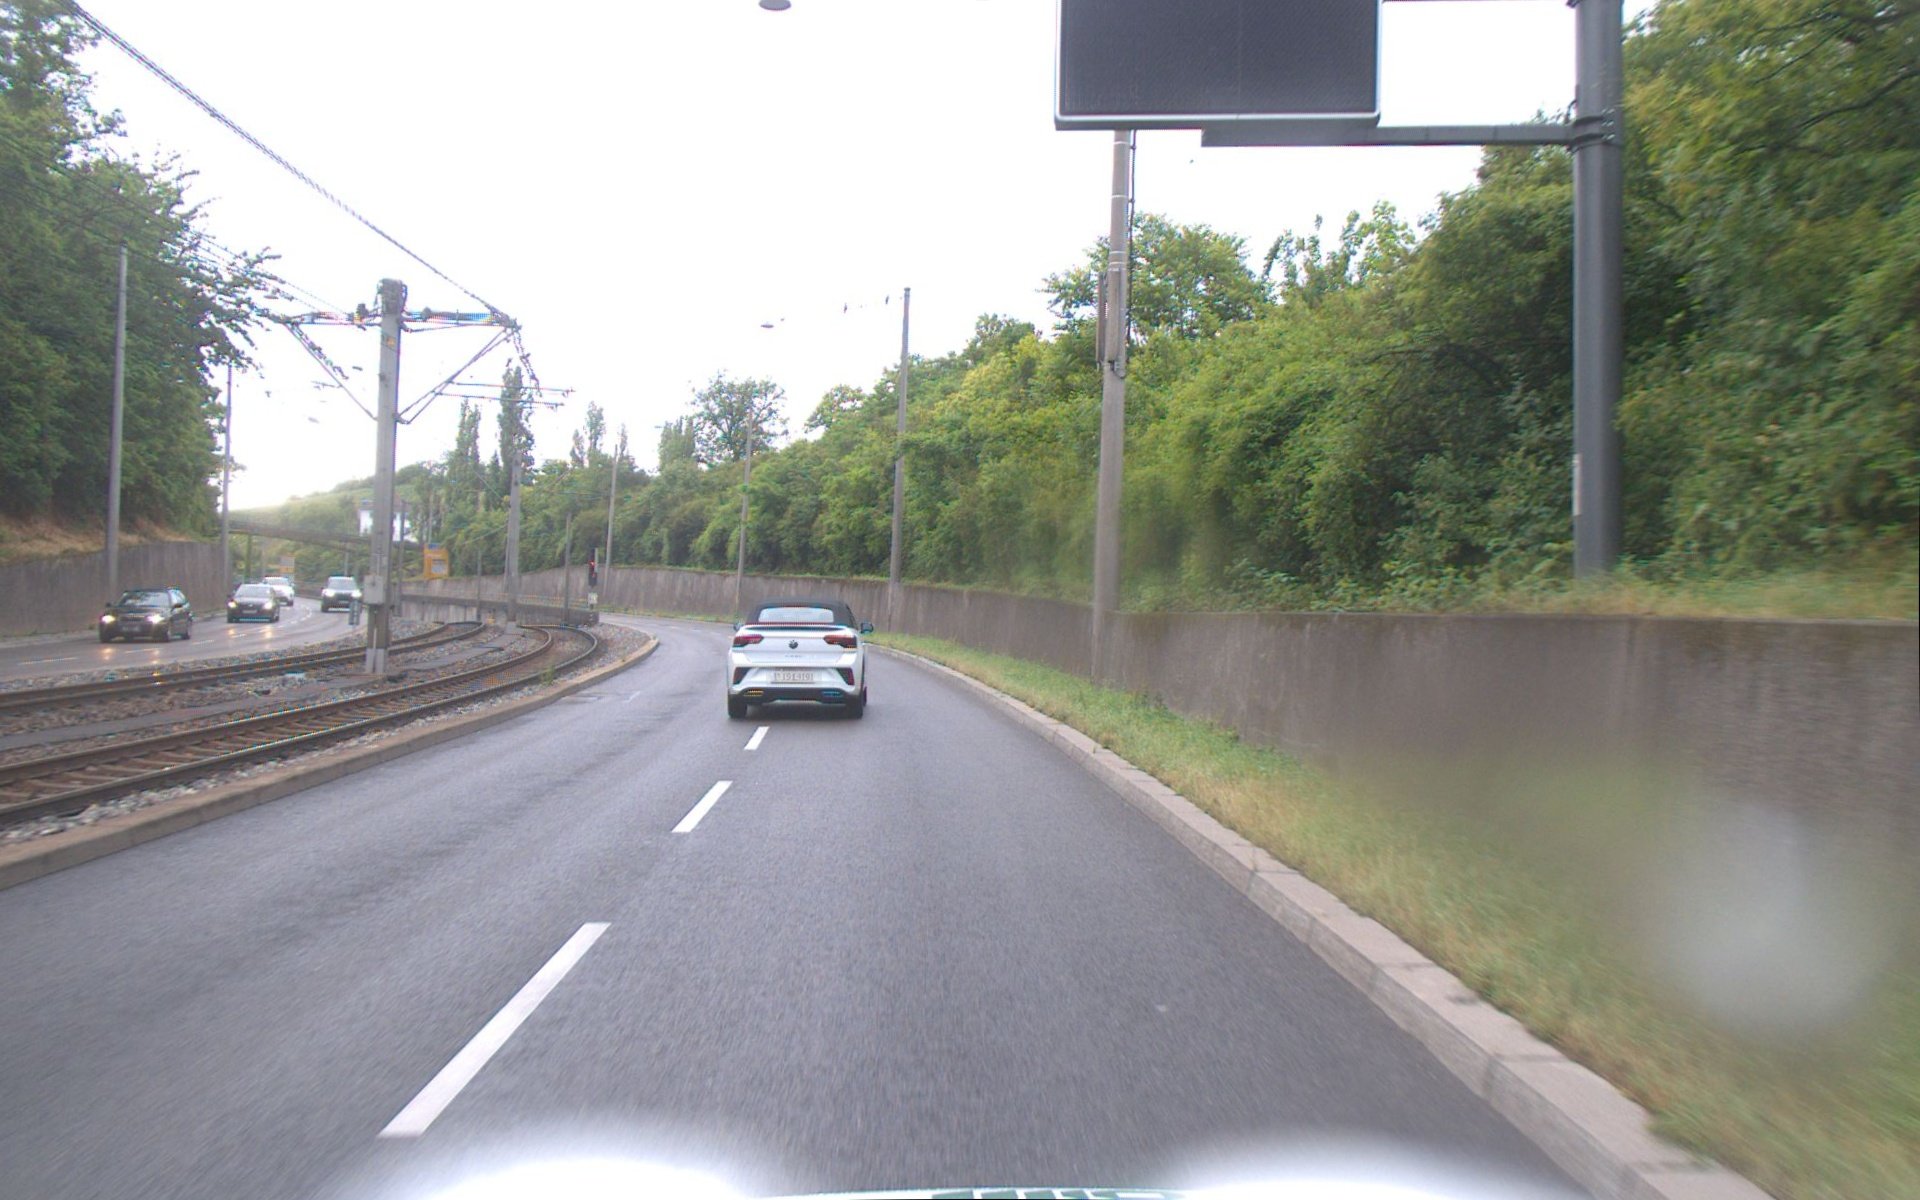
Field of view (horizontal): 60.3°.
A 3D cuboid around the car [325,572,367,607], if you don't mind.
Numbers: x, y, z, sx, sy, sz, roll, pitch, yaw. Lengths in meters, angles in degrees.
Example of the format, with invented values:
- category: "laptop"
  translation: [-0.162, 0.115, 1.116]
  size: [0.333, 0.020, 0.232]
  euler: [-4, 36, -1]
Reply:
- category: "car"
  translation: [-32.820, -0.590, 88.352]
  size: [1.902, 1.818, 4.418]
  euler: [0, 1, -24]

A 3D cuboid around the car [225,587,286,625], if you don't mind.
- category: "car"
  translation: [-28.350, 0.219, 66.694]
  size: [1.898, 1.439, 4.427]
  euler: [-1, 1, -19]

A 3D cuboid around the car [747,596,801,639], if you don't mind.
- category: "car"
  translation: [-7.004, 0.619, 62.038]
  size: [1.731, 1.527, 3.990]
  euler: [1, 0, -10]

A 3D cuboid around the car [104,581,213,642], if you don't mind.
- category: "car"
  translation: [-21.719, 0.282, 44.979]
  size: [1.715, 1.542, 4.559]
  euler: [-1, 0, -14]

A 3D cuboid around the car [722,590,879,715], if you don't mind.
- category: "car"
  translation: [-2.083, 0.665, 22.716]
  size: [1.833, 1.551, 4.538]
  euler: [0, 0, -2]

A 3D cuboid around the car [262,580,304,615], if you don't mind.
- category: "car"
  translation: [-41.075, -0.187, 100.382]
  size: [1.962, 2.049, 3.981]
  euler: [1, 0, -17]
